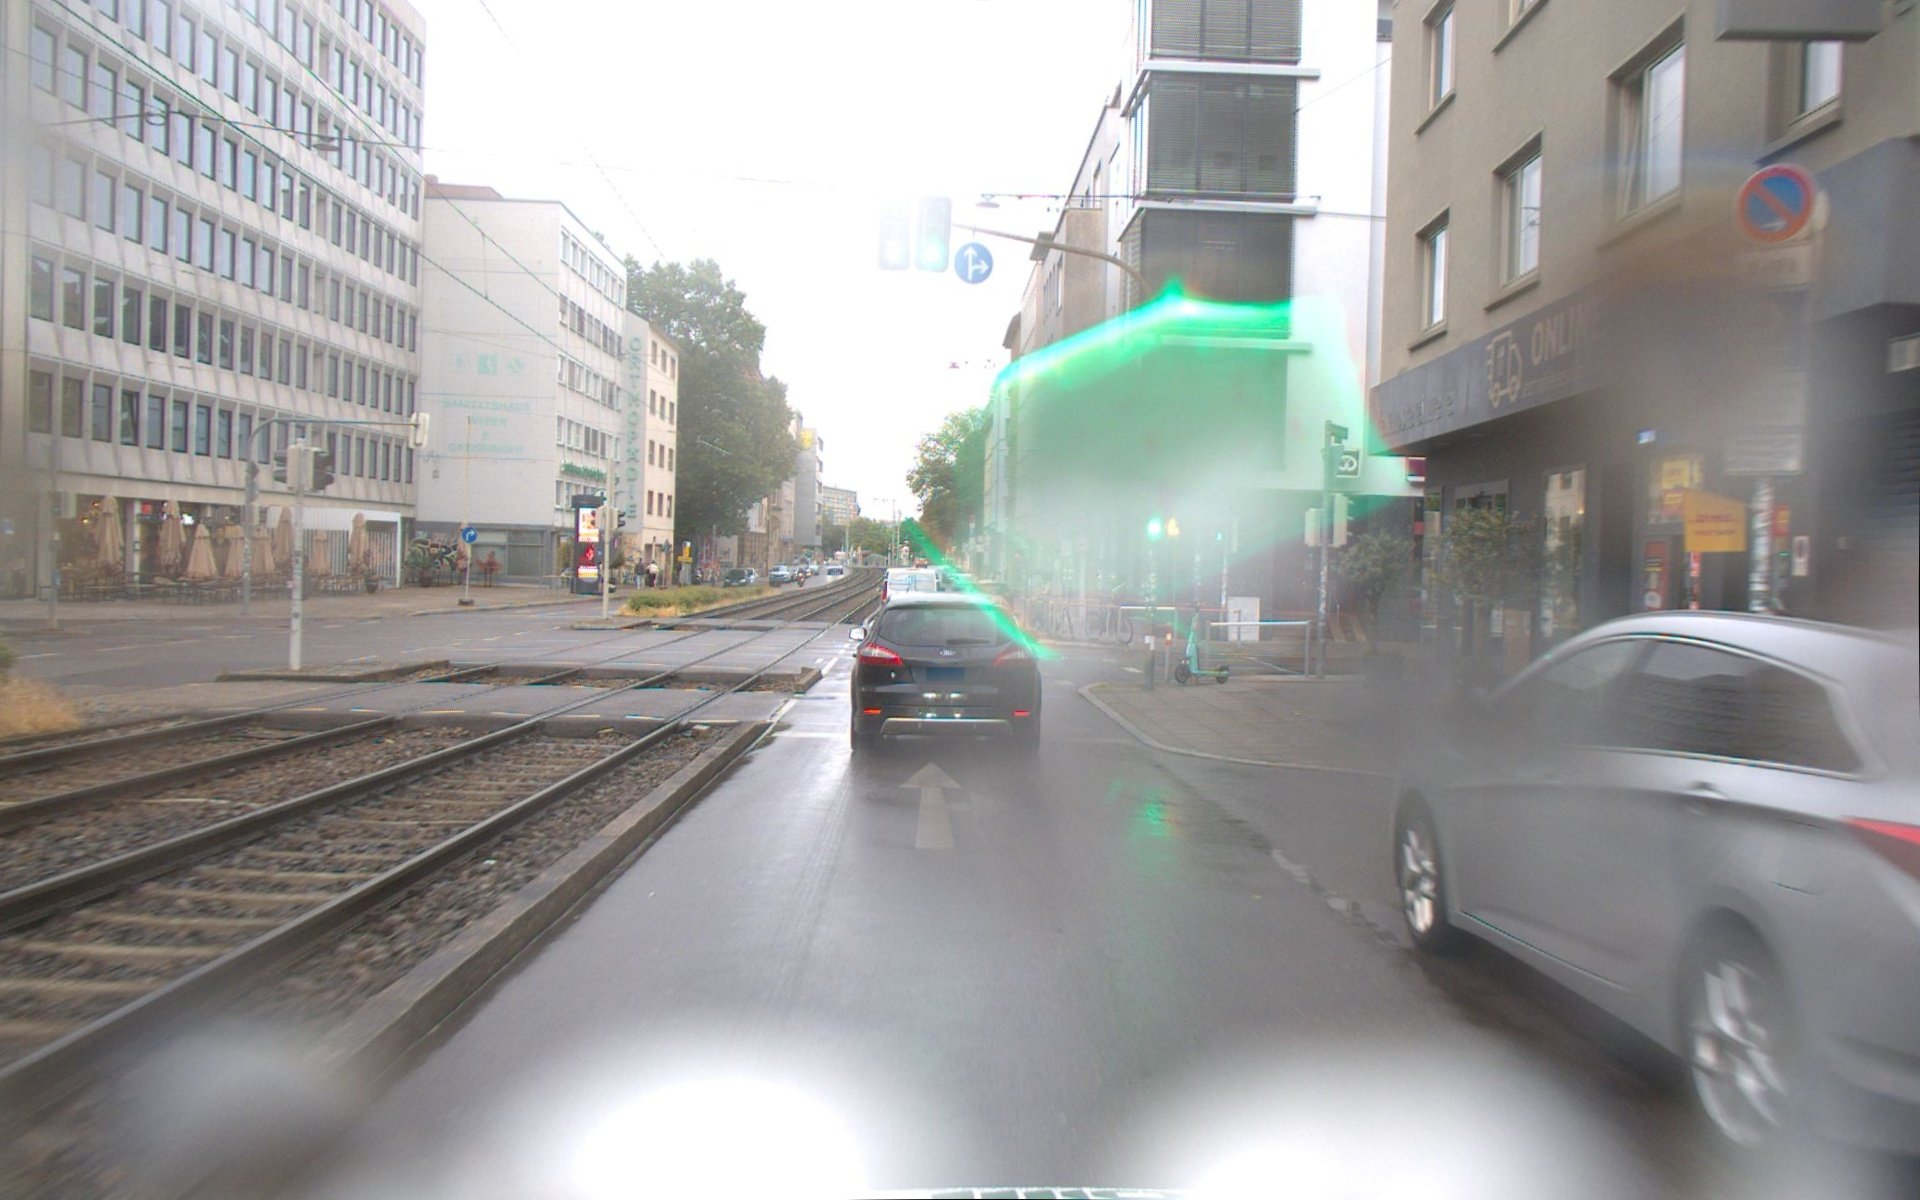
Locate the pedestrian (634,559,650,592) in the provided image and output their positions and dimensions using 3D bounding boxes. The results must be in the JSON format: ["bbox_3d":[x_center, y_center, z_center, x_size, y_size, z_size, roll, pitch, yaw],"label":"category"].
[{"bbox_3d":[-18.811,-1.439,97.836,0.712,1.929,0.982,2,0,-2],"label":"pedestrian"}]

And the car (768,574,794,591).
[{"bbox_3d":[-16.679,-1.642,154.230,1.953,1.545,4.434,2,1,-2],"label":"car"}]

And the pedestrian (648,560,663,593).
[{"bbox_3d":[-17.996,-1.363,97.810,0.665,1.929,0.742,2,0,-2],"label":"pedestrian"}]

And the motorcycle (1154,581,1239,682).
[{"bbox_3d":[3.606,0.473,25.157,1.121,1.487,0.675,1,0,-38],"label":"motorcycle"}]

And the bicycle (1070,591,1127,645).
[{"bbox_3d":[3.491,0.439,41.765,0.491,1.280,1.941,2,0,-25],"label":"bicycle"}]

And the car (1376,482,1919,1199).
[{"bbox_3d":[3.012,0.573,5.556,1.983,1.621,4.620,1,0,-1],"label":"car"}]

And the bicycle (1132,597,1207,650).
[{"bbox_3d":[5.016,0.560,39.719,0.572,1.177,1.930,2,0,-37],"label":"bicycle"}]

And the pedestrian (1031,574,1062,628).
[{"bbox_3d":[2.609,0.016,49.821,0.650,1.610,0.774,1,0,-23],"label":"pedestrian"}]

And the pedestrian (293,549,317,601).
[{"bbox_3d":[-23.996,-0.915,60.583,0.553,1.854,0.843,2,1,-6],"label":"pedestrian"}]

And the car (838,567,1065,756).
[{"bbox_3d":[-0.103,0.534,16.586,1.953,1.621,4.270,1,0,-1],"label":"car"}]

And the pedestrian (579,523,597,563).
[{"bbox_3d":[-18.297,-2.784,81.418,0.713,1.929,0.688,2,0,-5],"label":"pedestrian"}]

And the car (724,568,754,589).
[{"bbox_3d":[-16.139,-1.545,120.972,1.708,1.494,4.219,1,1,-1],"label":"car"}]

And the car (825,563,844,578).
[{"bbox_3d":[-14.974,-3.536,197.712,1.953,1.545,4.442,2,-1,-1],"label":"car"}]

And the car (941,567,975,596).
[{"bbox_3d":[-0.116,-1.099,99.082,1.953,1.621,4.571,1,0,-1],"label":"car"}]

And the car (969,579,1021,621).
[{"bbox_3d":[1.388,0.002,67.608,1.953,1.621,4.270,1,0,-1],"label":"car"}]

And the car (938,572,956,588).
[{"bbox_3d":[-1.312,-2.051,167.026,1.609,1.542,4.038,2,1,-2],"label":"car"}]

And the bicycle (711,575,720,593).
[{"bbox_3d":[-17.484,-1.150,118.102,0.580,1.248,2.399,2,0,-8],"label":"bicycle"}]

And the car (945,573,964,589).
[{"bbox_3d":[-0.523,-1.861,162.263,1.704,1.515,3.999,2,1,-2],"label":"car"}]

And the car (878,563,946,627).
[{"bbox_3d":[-1.433,-0.153,50.521,1.953,1.848,4.270,1,0,-1],"label":"car"}]
